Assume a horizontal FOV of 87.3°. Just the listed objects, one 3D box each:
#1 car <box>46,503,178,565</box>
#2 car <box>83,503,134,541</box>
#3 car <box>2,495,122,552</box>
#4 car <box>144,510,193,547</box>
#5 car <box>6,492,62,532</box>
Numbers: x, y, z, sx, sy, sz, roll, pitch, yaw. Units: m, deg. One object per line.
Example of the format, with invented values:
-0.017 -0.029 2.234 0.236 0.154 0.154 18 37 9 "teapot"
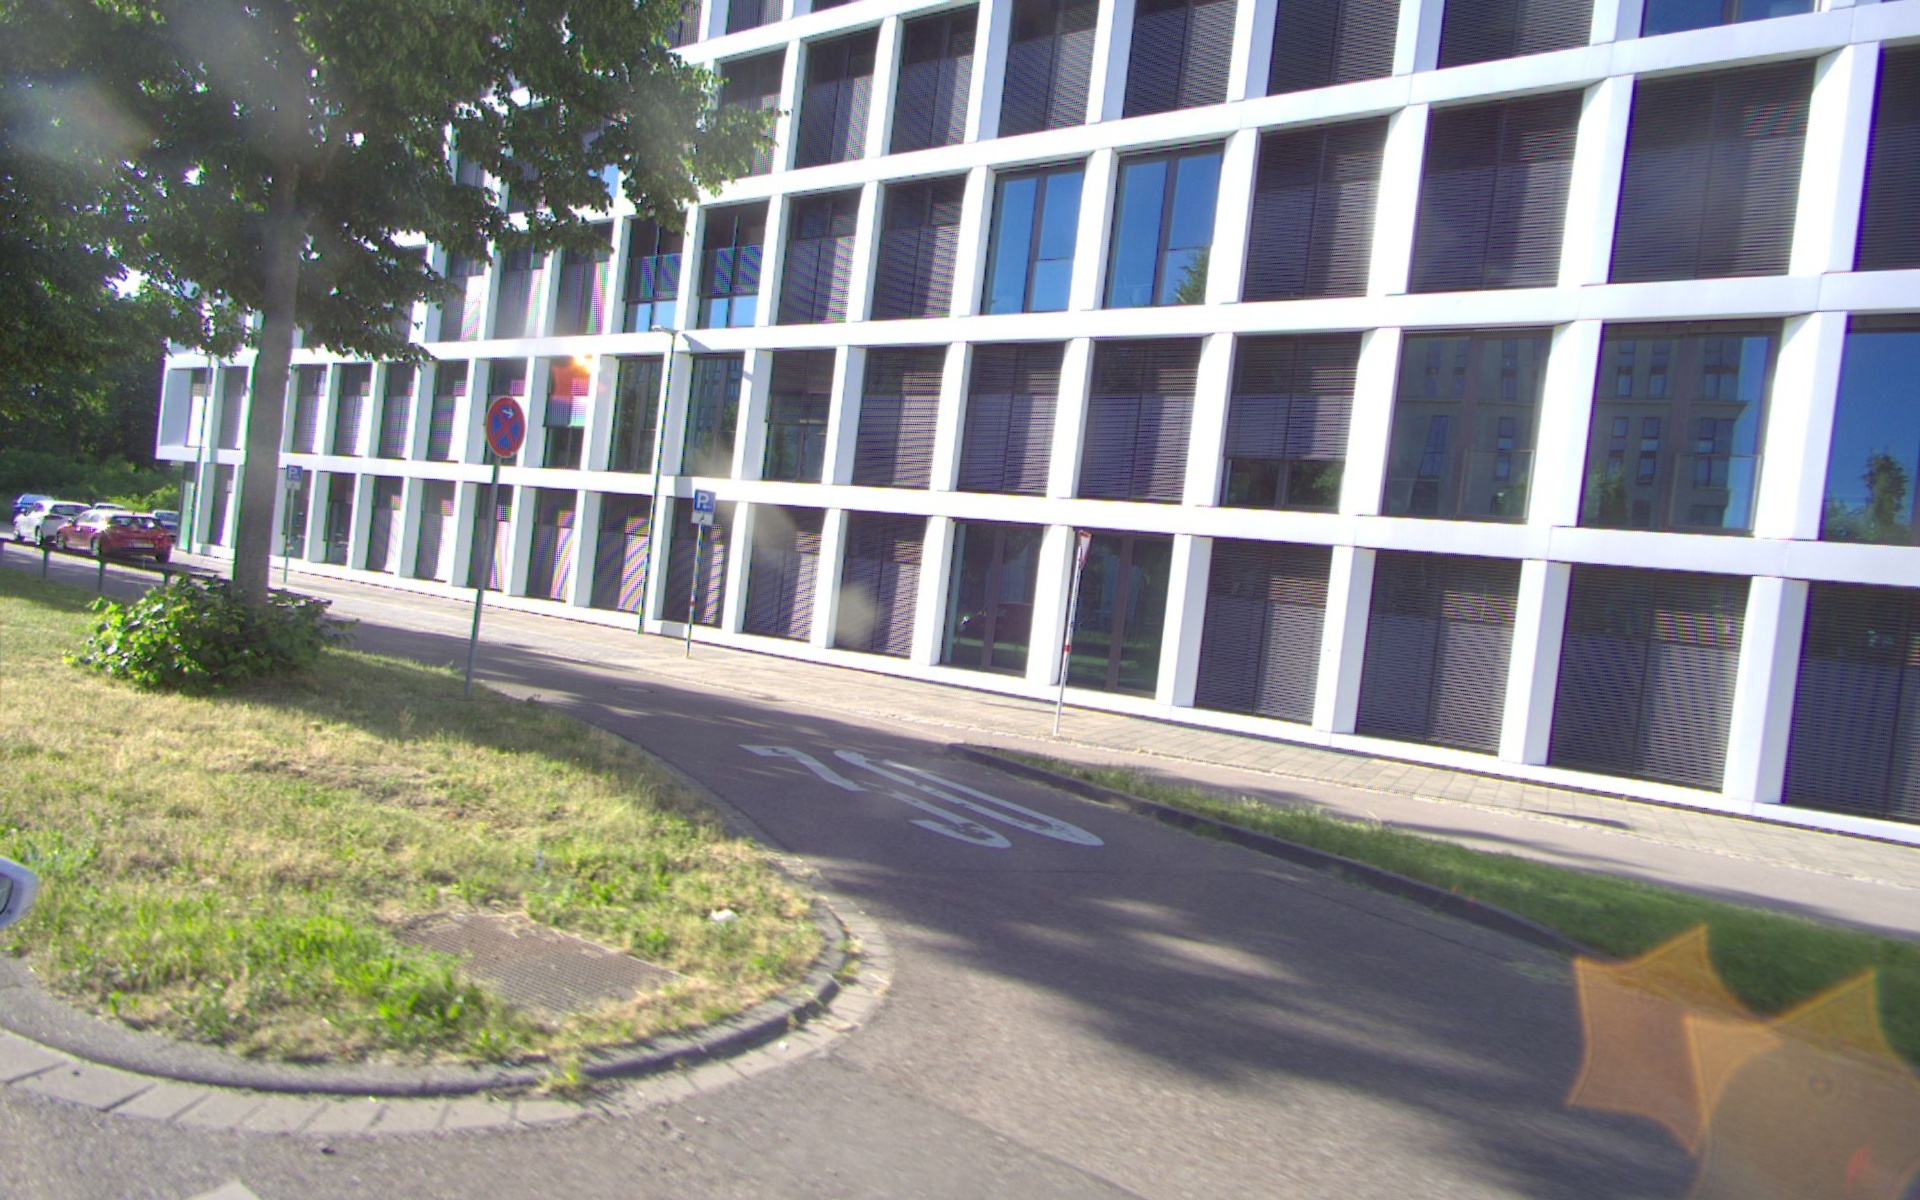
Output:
-26.075 -2.039 30.914 4.202 1.506 1.865 6 2 32 "car"
-42.175 -3.850 49.861 1.740 1.553 3.839 9 -2 -40 "car"
-30.115 -2.570 33.713 4.332 1.506 1.992 6 2 34 "car"
-40.419 -3.642 51.357 1.711 1.558 3.908 9 -2 -40 "car"
-43.842 -4.205 47.710 1.585 1.566 3.777 6 2 -39 "car"
